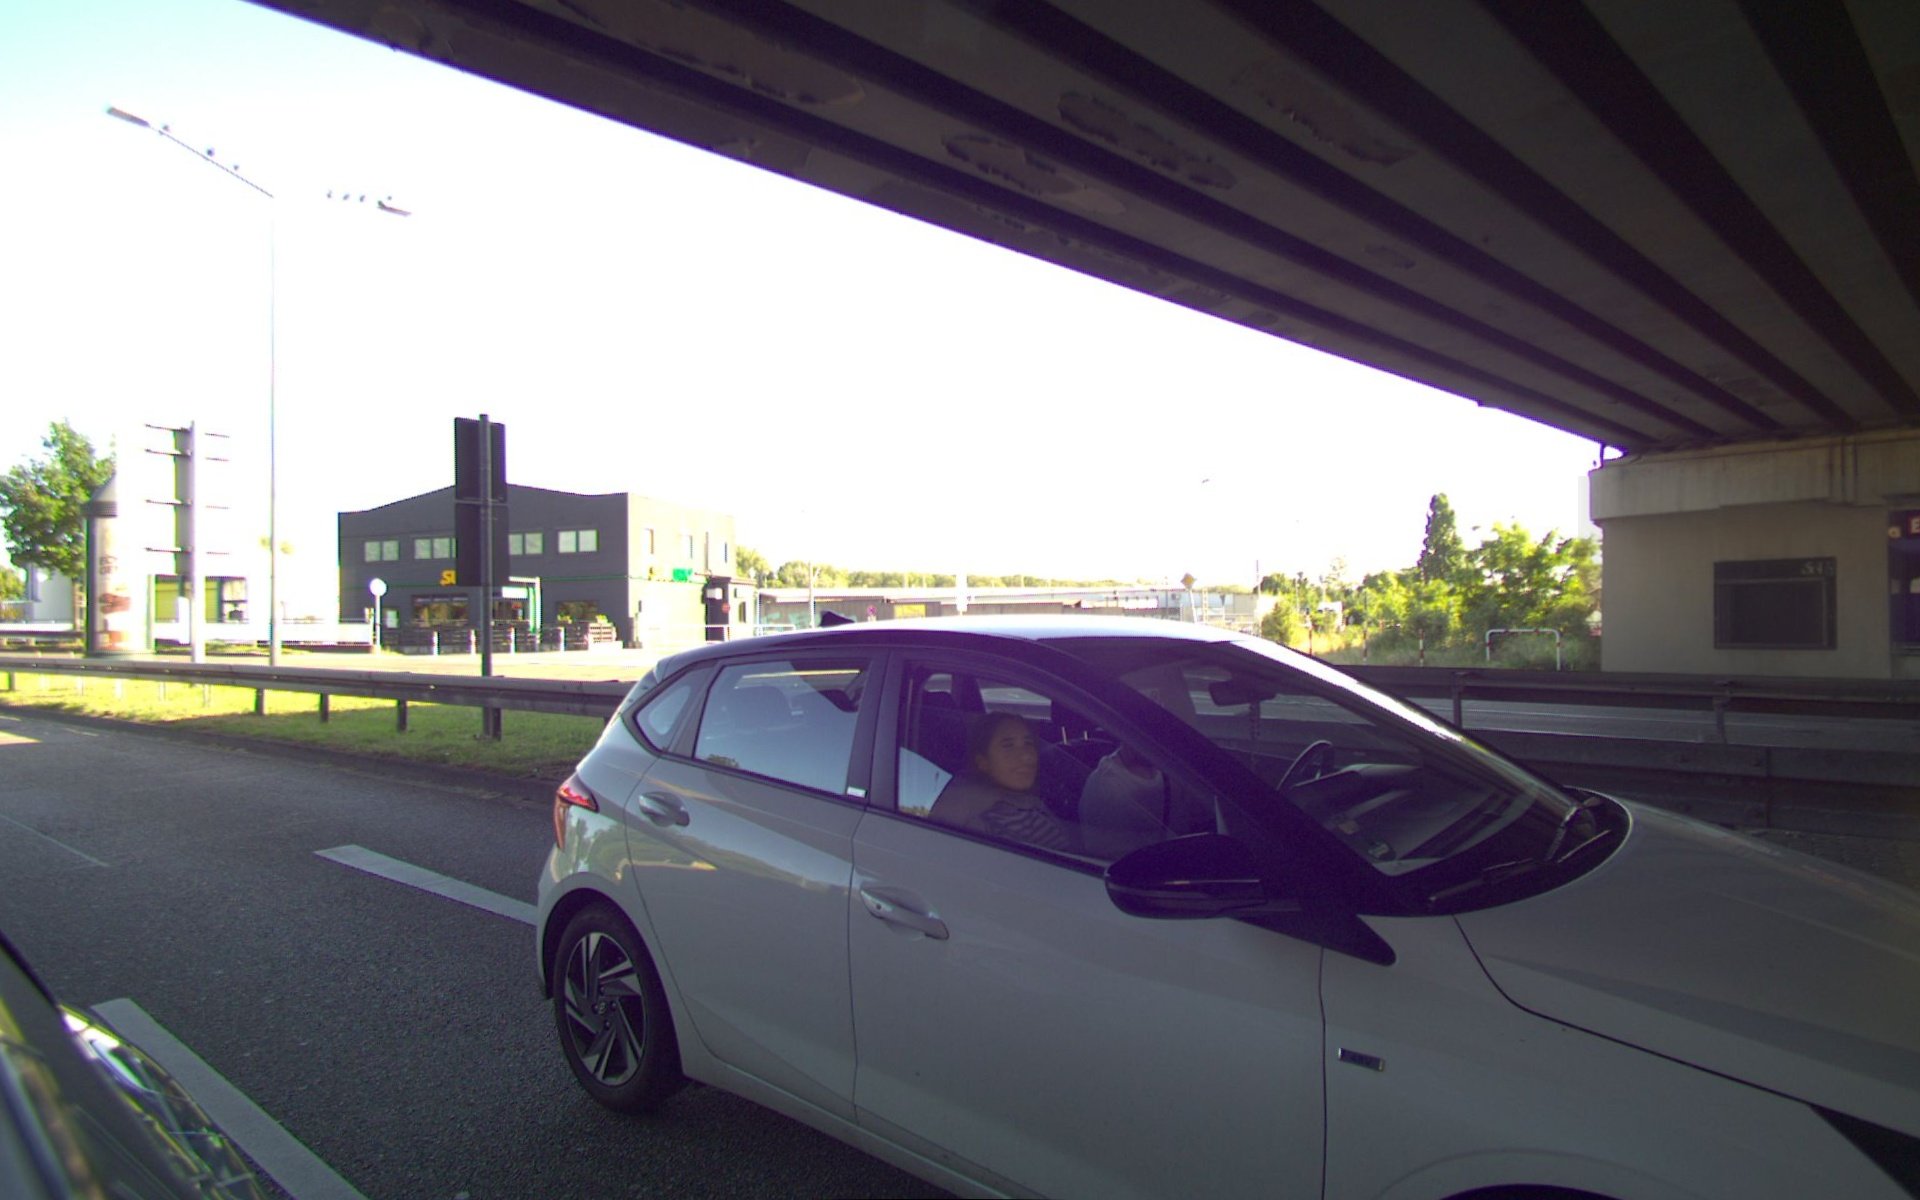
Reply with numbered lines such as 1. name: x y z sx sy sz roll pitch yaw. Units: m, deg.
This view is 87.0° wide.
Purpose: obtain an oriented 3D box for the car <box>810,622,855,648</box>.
1. car: -6.875 1.920 54.961 1.806 1.291 4.180 1 -3 1

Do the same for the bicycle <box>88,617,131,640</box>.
1. bicycle: -38.763 1.298 46.130 1.733 1.031 0.591 -1 0 13

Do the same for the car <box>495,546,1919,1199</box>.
1. car: 0.558 0.715 2.669 3.987 1.491 1.716 -1 -1 40
